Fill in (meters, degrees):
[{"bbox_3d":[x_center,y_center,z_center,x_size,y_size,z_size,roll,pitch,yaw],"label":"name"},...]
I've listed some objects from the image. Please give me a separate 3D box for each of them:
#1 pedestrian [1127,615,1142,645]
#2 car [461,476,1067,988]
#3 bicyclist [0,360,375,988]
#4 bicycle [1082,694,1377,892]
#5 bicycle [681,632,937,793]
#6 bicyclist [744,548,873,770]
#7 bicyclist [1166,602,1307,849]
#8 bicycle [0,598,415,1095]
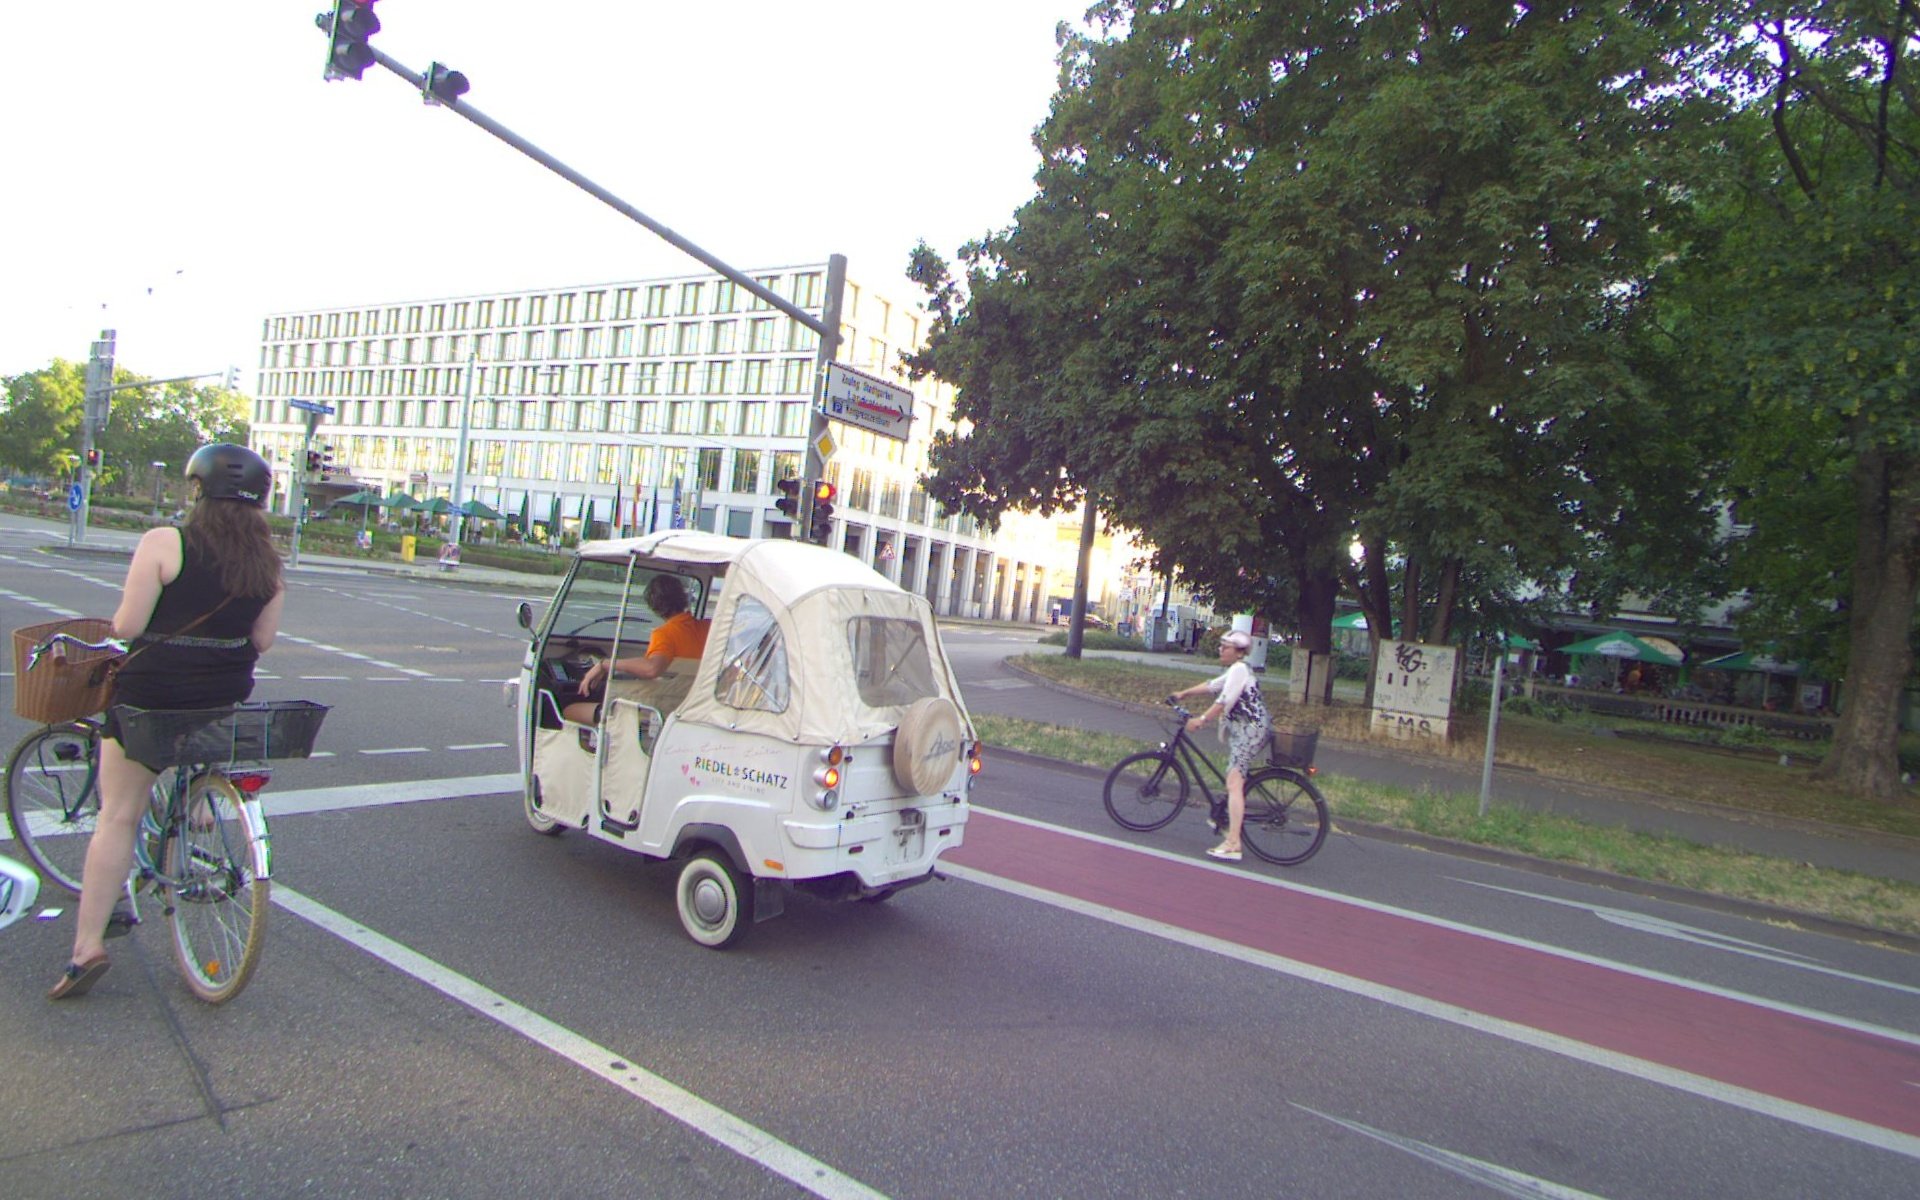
[{"bbox_3d":[9.846,1.702,56.871,0.498,1.646,0.537,7,2,32],"label":"pedestrian"},{"bbox_3d":[-1.024,0.465,5.051,2.523,1.803,1.460,8,1,34],"label":"car"},{"bbox_3d":[-2.450,0.191,3.186,0.736,1.714,0.629,7,1,31],"label":"bicyclist"},{"bbox_3d":[2.051,1.406,7.717,1.986,1.082,0.730,6,0,27],"label":"bicycle"},{"bbox_3d":[-1.256,0.937,8.369,1.877,1.081,0.727,8,-1,-22],"label":"bicycle"},{"bbox_3d":[-1.270,0.471,8.340,0.738,1.714,0.761,6,1,-22],"label":"bicyclist"},{"bbox_3d":[2.126,0.922,7.695,0.735,1.714,0.714,7,1,27],"label":"bicyclist"},{"bbox_3d":[-2.762,0.646,3.368,2.035,1.082,0.638,7,0,32],"label":"bicycle"}]
